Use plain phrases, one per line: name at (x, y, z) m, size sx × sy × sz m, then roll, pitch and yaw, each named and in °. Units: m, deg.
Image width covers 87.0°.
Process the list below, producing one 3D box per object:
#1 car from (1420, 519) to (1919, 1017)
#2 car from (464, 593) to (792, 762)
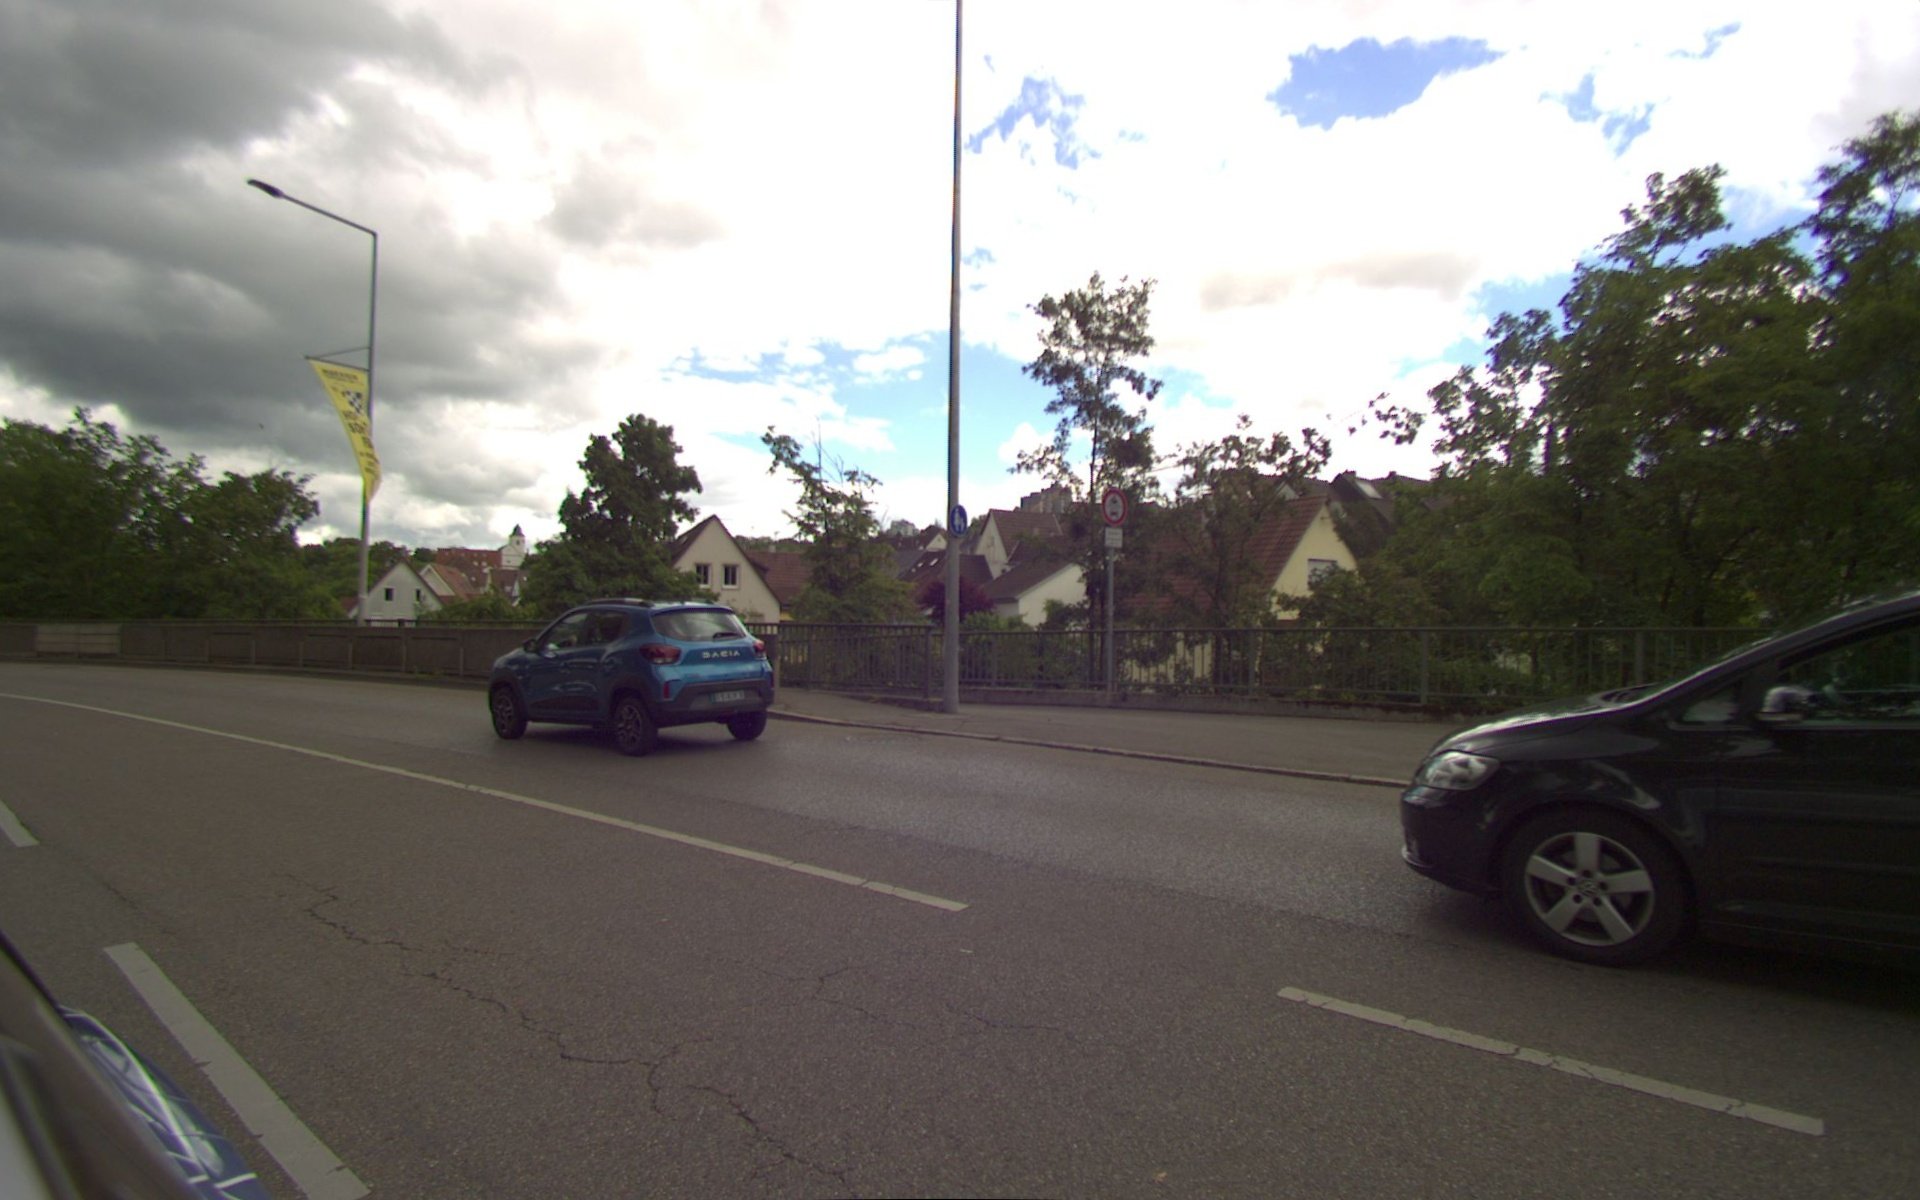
car at (4.023, 0.542, 3.645) m, size 4.010 × 1.619 × 1.703 m, roll -1°, pitch -1°, yaw 40°
car at (-3.651, 0.720, 10.861) m, size 3.691 × 1.497 × 1.565 m, roll -1°, pitch 0°, yaw 39°
